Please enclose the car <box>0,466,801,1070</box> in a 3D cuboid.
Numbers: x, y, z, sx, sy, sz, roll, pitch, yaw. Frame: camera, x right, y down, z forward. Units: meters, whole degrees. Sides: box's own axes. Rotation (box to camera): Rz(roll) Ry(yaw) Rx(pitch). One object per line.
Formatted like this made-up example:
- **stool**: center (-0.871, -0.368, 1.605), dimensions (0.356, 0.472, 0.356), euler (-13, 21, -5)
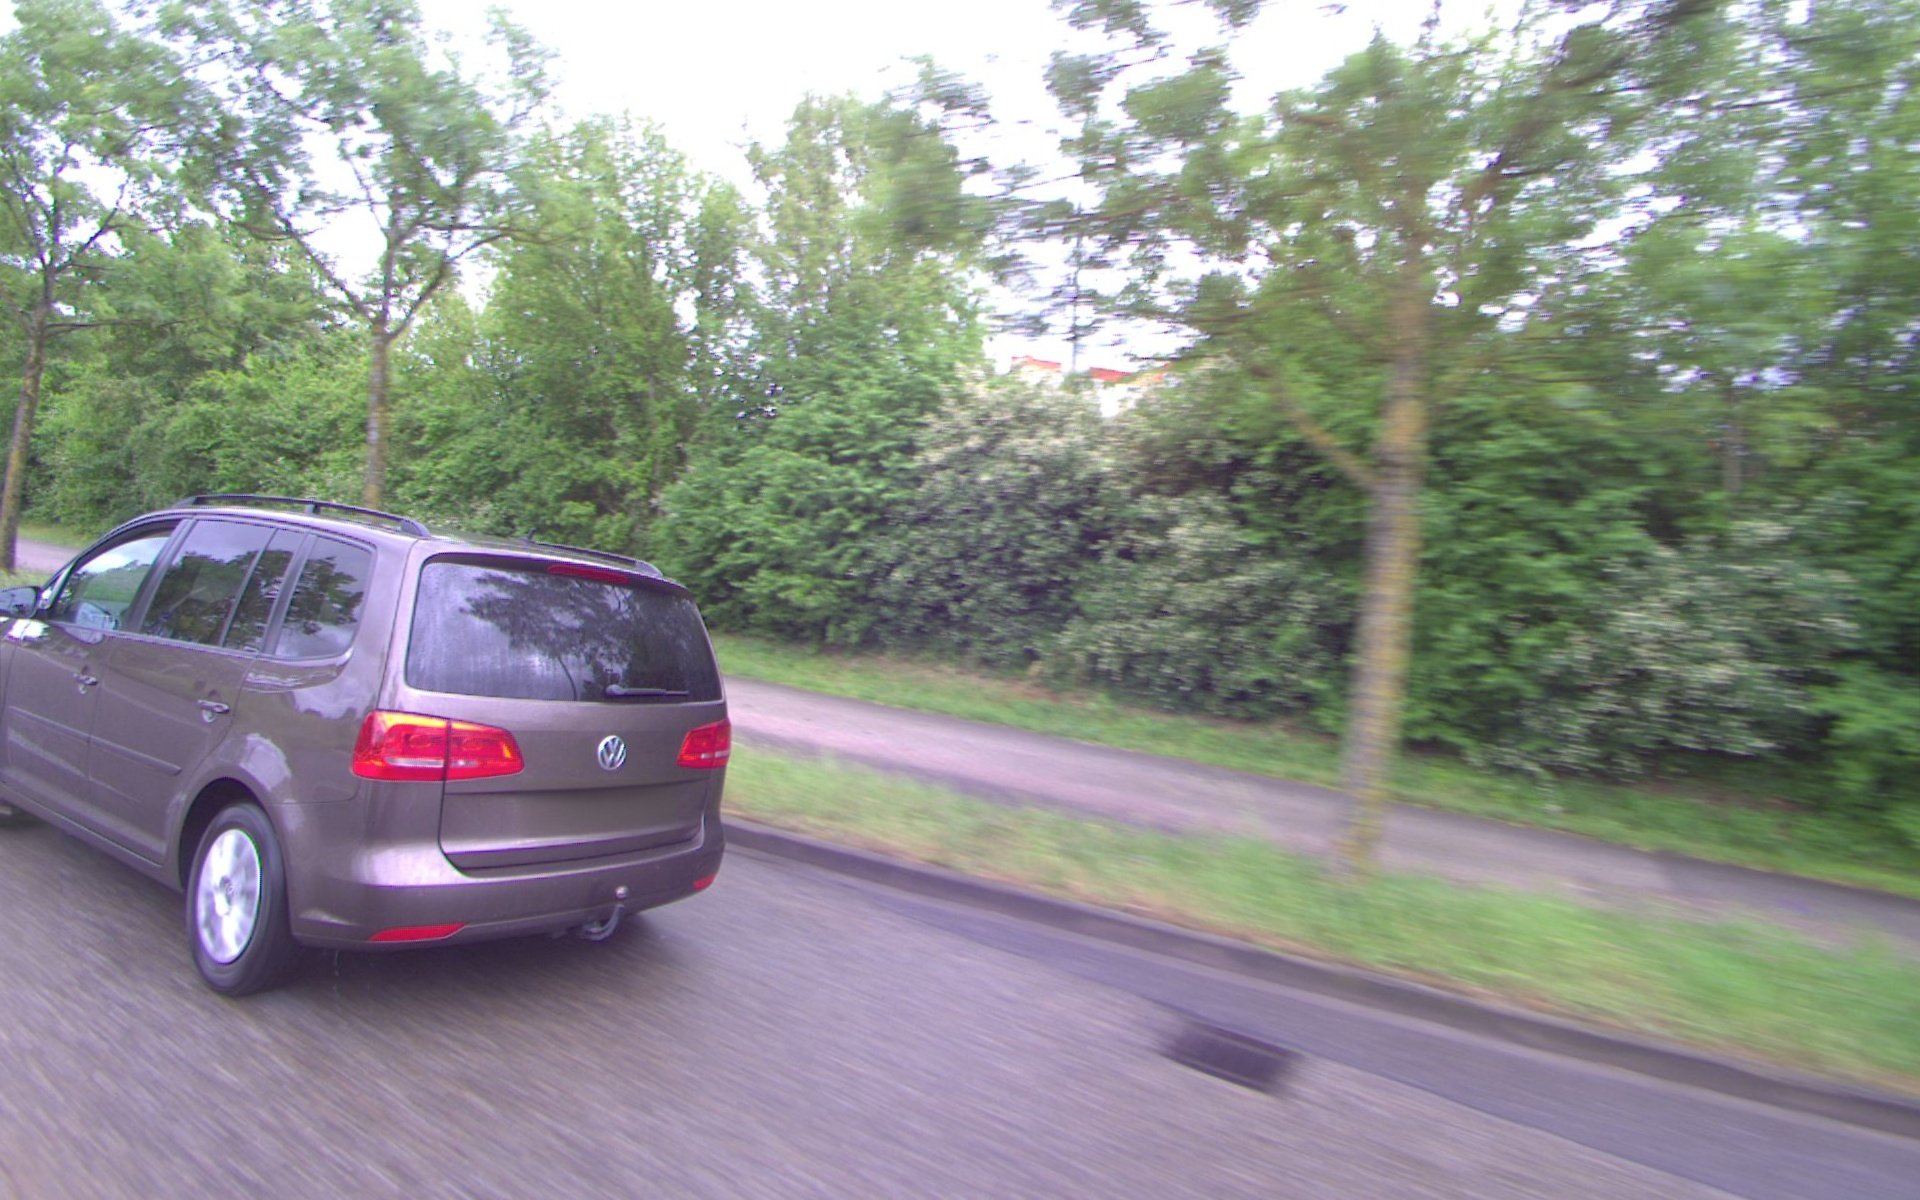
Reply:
- **car**: center (-2.932, 0.400, 4.604), dimensions (4.061, 1.615, 1.717), euler (6, -2, 31)
